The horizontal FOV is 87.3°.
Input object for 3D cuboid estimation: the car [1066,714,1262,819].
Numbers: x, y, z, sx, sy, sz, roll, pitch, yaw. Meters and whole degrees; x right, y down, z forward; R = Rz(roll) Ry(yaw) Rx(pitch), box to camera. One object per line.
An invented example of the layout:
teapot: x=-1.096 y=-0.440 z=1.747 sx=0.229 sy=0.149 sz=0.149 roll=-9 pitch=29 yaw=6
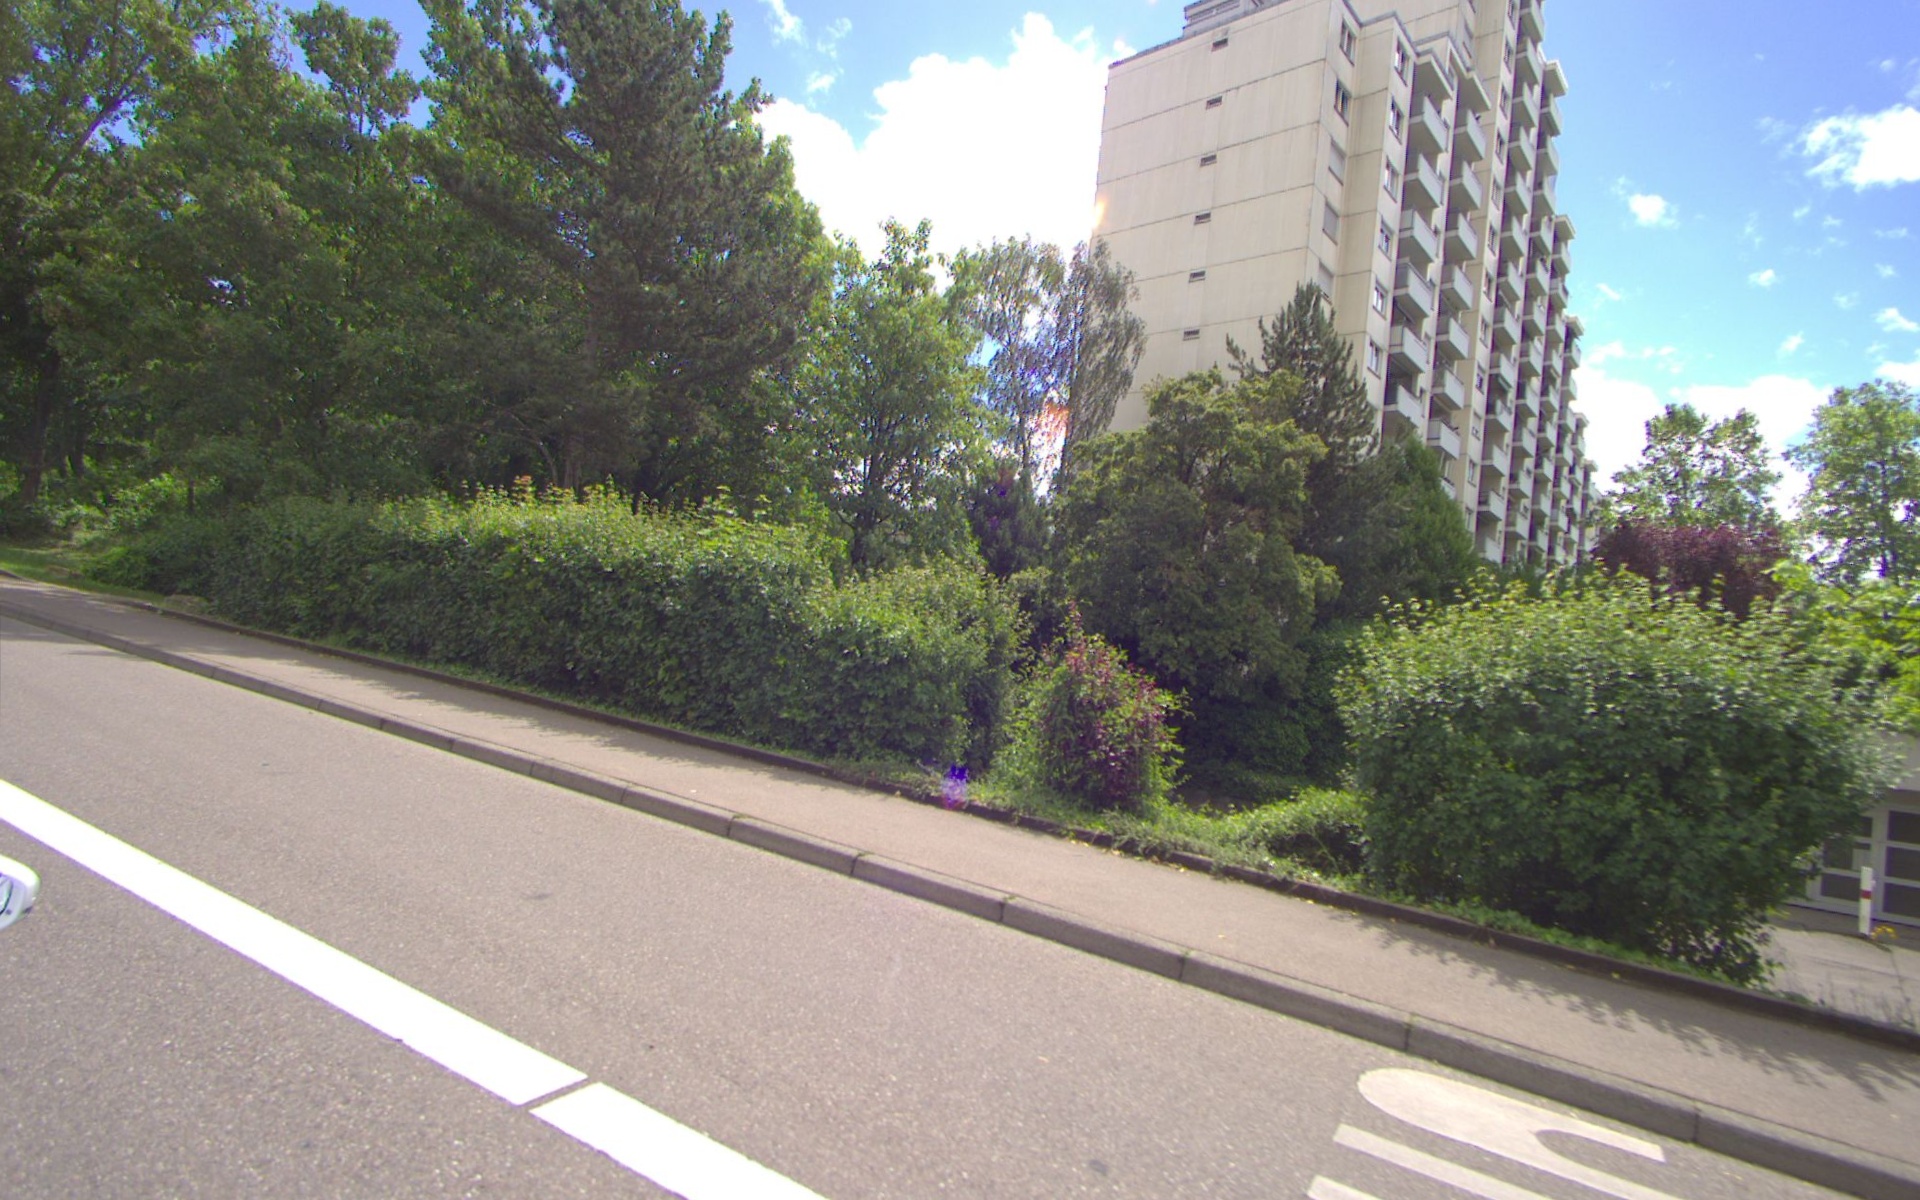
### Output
car: x=4.716 y=3.812 z=23.471 sx=3.937 sy=1.636 sz=1.827 roll=7 pitch=-2 yaw=35
